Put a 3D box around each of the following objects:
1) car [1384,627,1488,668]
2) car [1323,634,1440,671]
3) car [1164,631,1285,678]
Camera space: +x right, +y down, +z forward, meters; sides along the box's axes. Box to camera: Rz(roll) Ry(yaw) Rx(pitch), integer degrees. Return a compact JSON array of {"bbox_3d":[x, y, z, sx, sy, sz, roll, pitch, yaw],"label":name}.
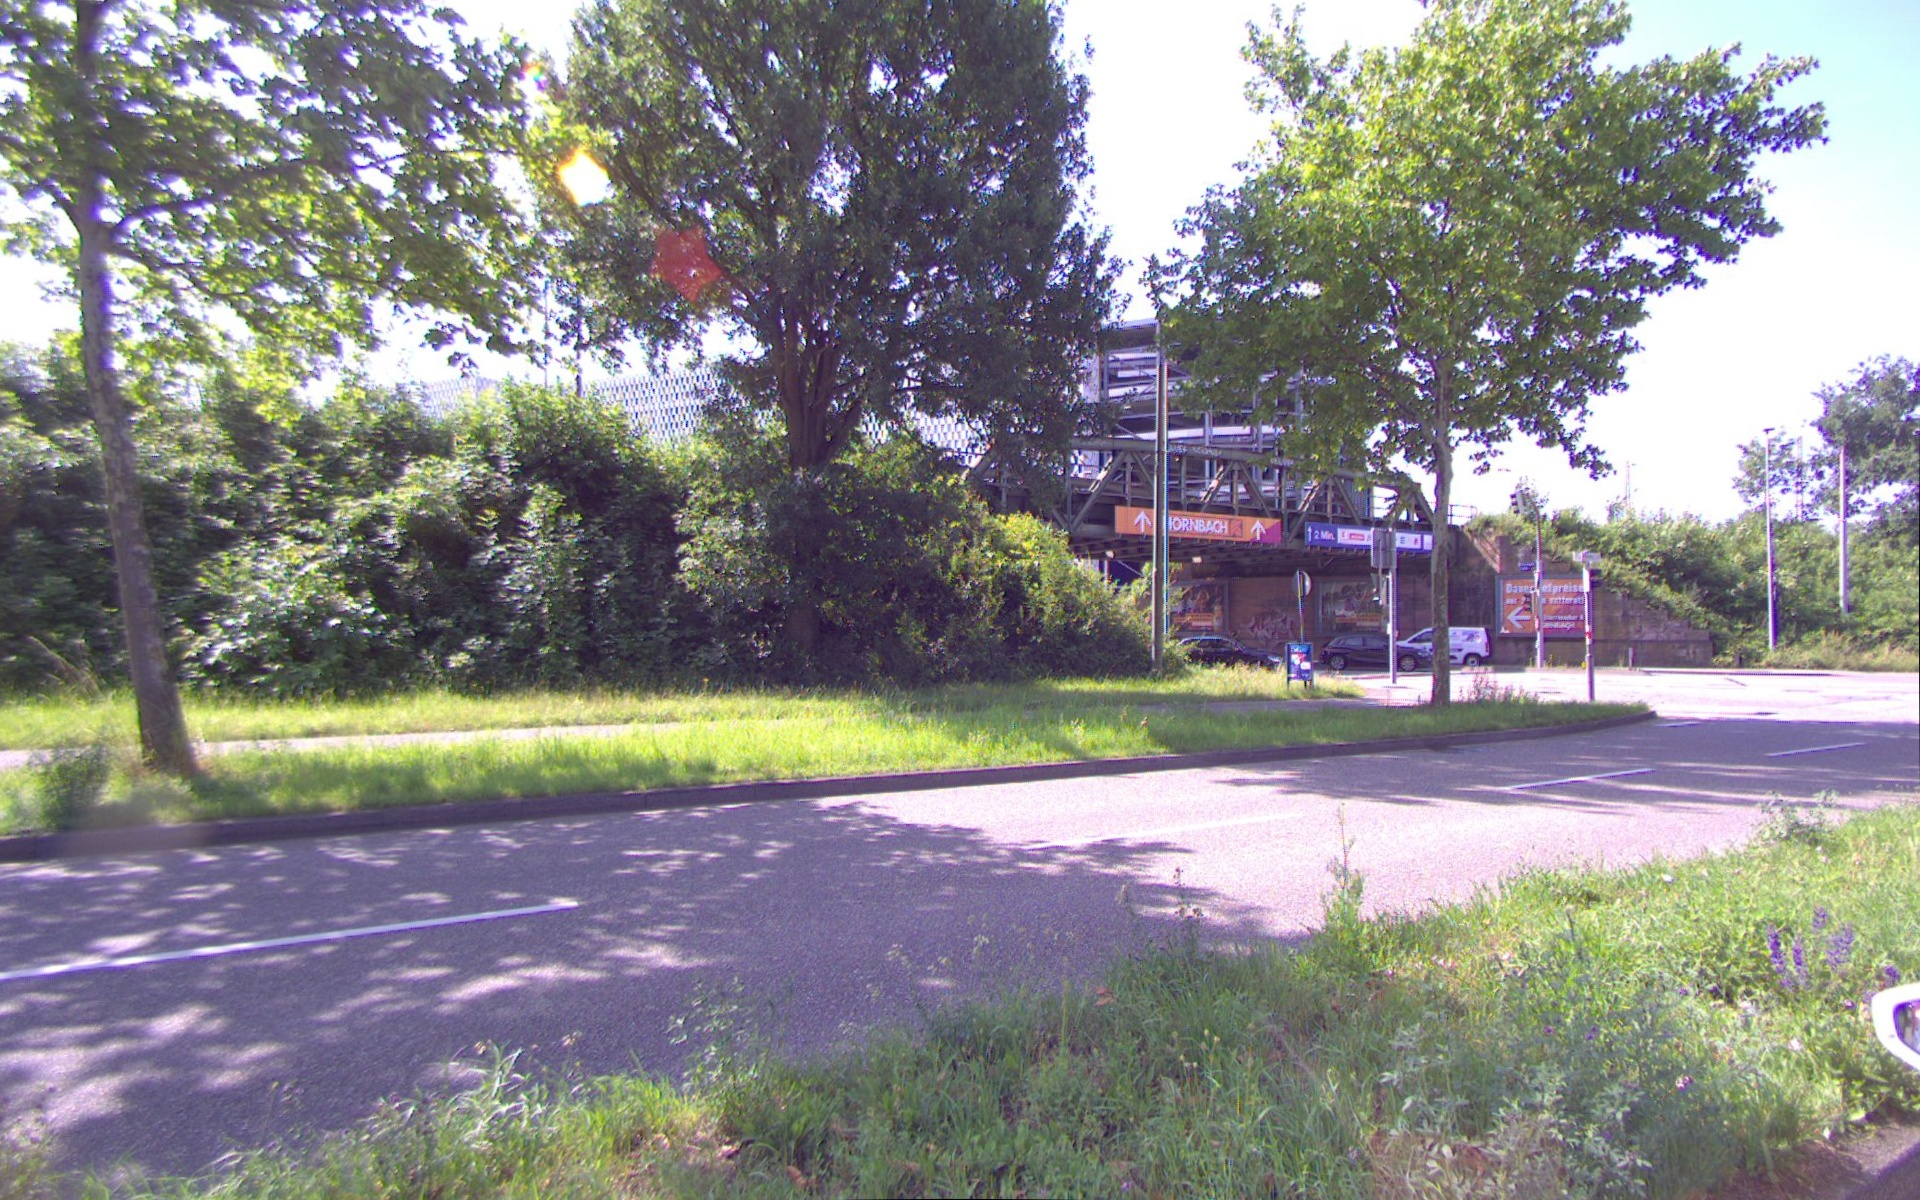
[{"bbox_3d":[20.741,2.034,43.886,4.018,1.670,1.770,0,-1,24],"label":"car"},{"bbox_3d":[16.894,2.083,40.355,4.253,1.413,1.770,-1,-2,24],"label":"car"},{"bbox_3d":[9.358,1.906,35.519,3.869,1.500,1.822,1,-1,25],"label":"car"}]
